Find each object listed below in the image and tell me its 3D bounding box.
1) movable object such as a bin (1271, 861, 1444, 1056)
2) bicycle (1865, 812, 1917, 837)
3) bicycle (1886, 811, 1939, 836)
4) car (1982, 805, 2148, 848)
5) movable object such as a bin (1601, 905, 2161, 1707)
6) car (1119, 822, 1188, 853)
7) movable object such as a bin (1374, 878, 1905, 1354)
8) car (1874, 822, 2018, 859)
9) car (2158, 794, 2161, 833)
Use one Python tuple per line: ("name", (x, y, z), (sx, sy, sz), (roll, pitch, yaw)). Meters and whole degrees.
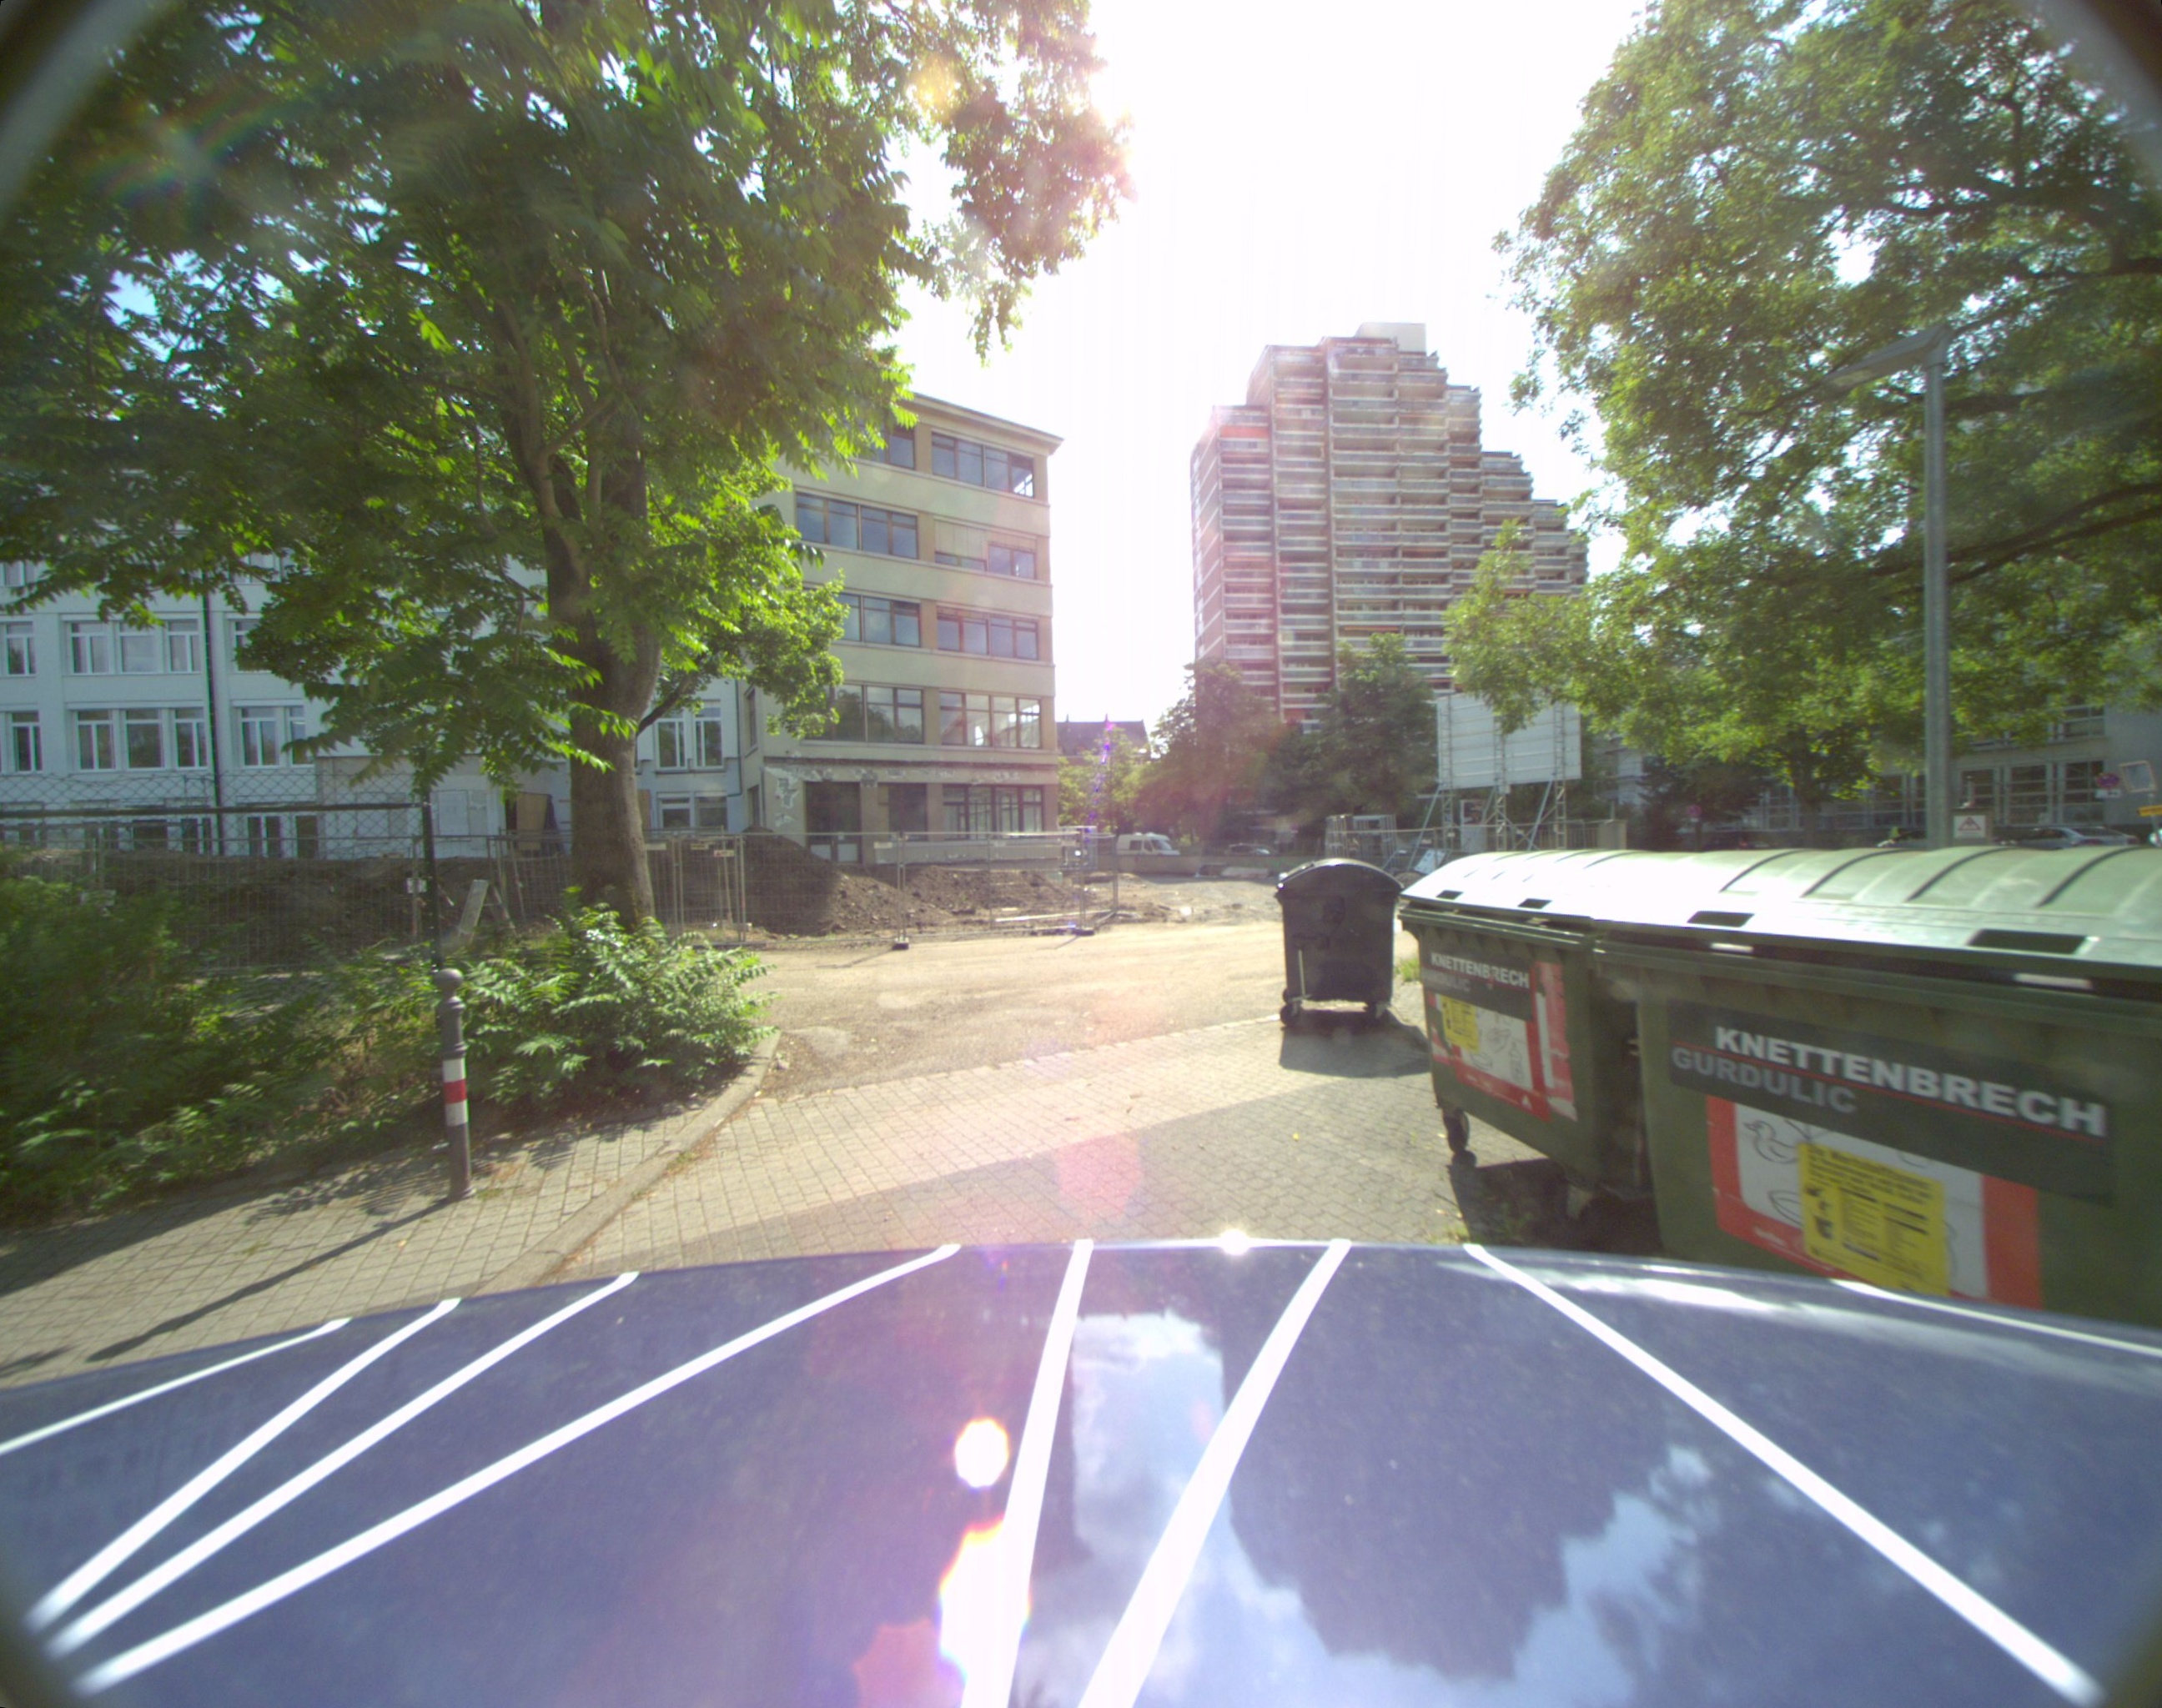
("movable object such as a bin", (2.395, 0.862, 6.751), (1.247, 1.474, 1.297), (-3, 2, 16))
("bicycle", (40.478, -1.454, 37.980), (2.055, 1.080, 0.497), (-5, 0, -2))
("bicycle", (40.686, -1.492, 37.181), (2.055, 1.080, 0.497), (-5, 0, -2))
("car", (37.728, -1.007, 29.300), (1.746, 1.390, 4.004), (-5, 0, 14))
("movable object such as a bin", (2.237, 0.907, 1.736), (1.104, 1.443, 1.232), (-5, 0, -19))
("car", (4.905, -1.118, 52.273), (2.003, 2.002, 5.295), (-2, 2, -30))
("movable object such as a bin", (2.142, 0.875, 3.200), (1.103, 1.443, 1.342), (-5, 0, -7))
("car", (36.145, -0.557, 31.938), (1.780, 1.455, 4.239), (1, 1, 12))
("car", (38.984, -1.488, 25.159), (1.746, 1.390, 4.005), (-5, 0, 18))
